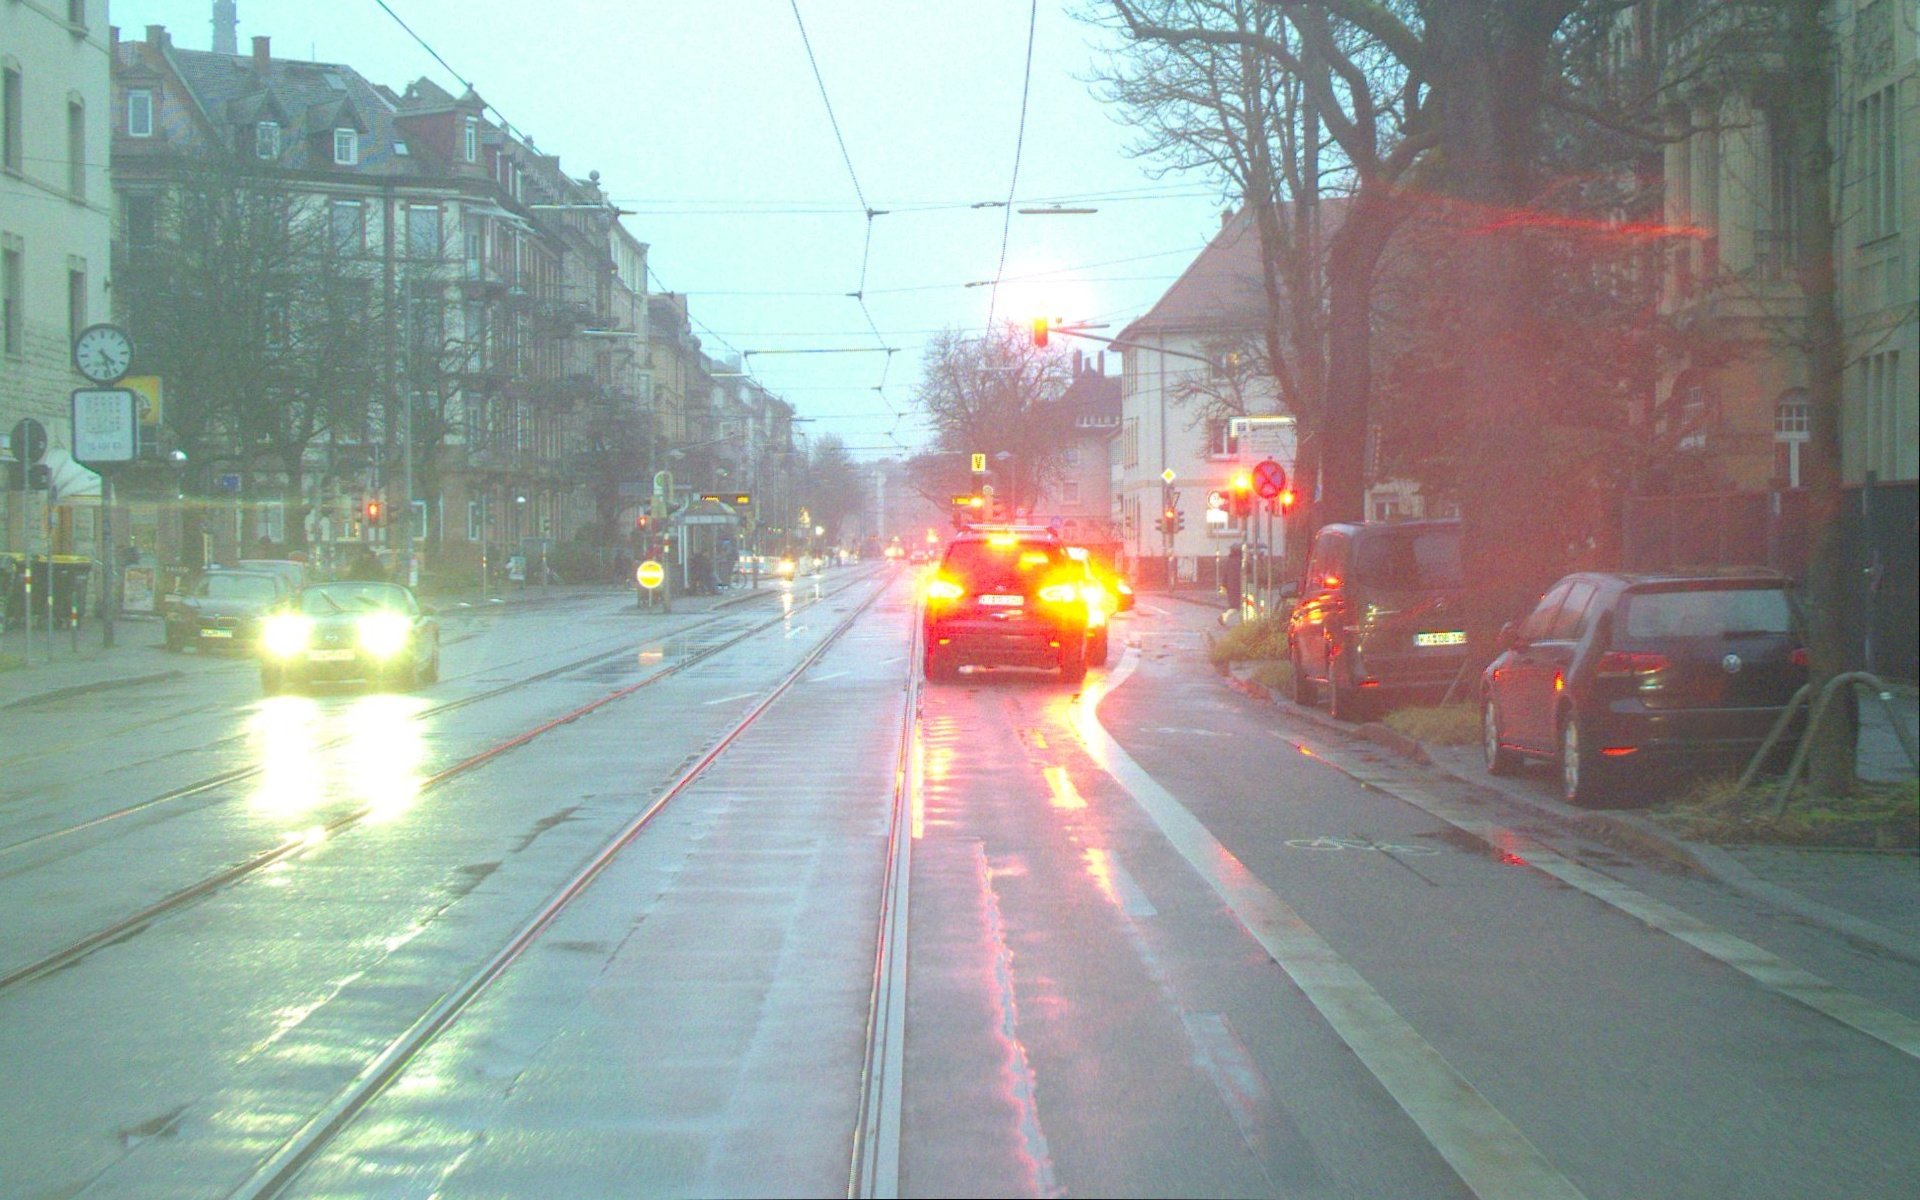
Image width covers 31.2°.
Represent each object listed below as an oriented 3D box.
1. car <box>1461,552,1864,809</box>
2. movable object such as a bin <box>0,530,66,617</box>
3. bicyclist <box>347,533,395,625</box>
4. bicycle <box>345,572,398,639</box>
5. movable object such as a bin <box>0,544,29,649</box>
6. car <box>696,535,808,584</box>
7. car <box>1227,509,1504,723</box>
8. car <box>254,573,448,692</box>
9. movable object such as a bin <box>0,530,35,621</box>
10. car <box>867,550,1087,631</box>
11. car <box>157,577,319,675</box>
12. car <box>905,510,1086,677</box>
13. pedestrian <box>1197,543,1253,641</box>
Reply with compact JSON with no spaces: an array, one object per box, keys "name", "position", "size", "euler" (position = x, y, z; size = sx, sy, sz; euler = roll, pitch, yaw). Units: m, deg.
[{"name":"car","position":[4.440,0.445,22.311],"size":[1.677,1.455,4.043],"euler":[-1,1,-1]},{"name":"movable object such as a bin","position":[-17.493,-0.498,64.667],"size":[1.014,1.595,1.081],"euler":[-1,2,2]},{"name":"bicyclist","position":[-10.426,-0.371,60.845],"size":[0.716,1.597,0.931],"euler":[-1,2,-4]},{"name":"bicycle","position":[-10.417,0.082,60.874],"size":[0.716,1.106,2.065],"euler":[-1,2,-4]},{"name":"movable object such as a bin","position":[-14.764,-0.050,51.198],"size":[1.409,1.525,1.365],"euler":[-1,2,-1]},{"name":"car","position":[-7.759,-1.528,128.040],"size":[3.986,1.711,1.904],"euler":[-1,2,-9]},{"name":"car","position":[3.899,0.080,33.899],"size":[1.993,1.894,5.028],"euler":[-1,2,-1]},{"name":"car","position":[-6.951,0.340,39.556],"size":[1.660,1.194,3.875],"euler":[-1,2,-2]},{"name":"movable object such as a bin","position":[-17.358,-0.443,62.006],"size":[1.014,1.595,1.081],"euler":[-1,2,2]},{"name":"car","position":[0.416,-0.228,78.452],"size":[4.945,1.711,1.698],"euler":[-1,2,2]},{"name":"car","position":[-11.895,0.397,56.861],"size":[1.833,1.442,4.000],"euler":[-1,2,-1]},{"name":"car","position":[0.362,-0.077,41.517],"size":[1.993,1.890,4.759],"euler":[1,0,-1]},{"name":"pedestrian","position":[5.522,-0.175,71.676],"size":[1.022,2.006,0.919],"euler":[-1,2,-4]}]
